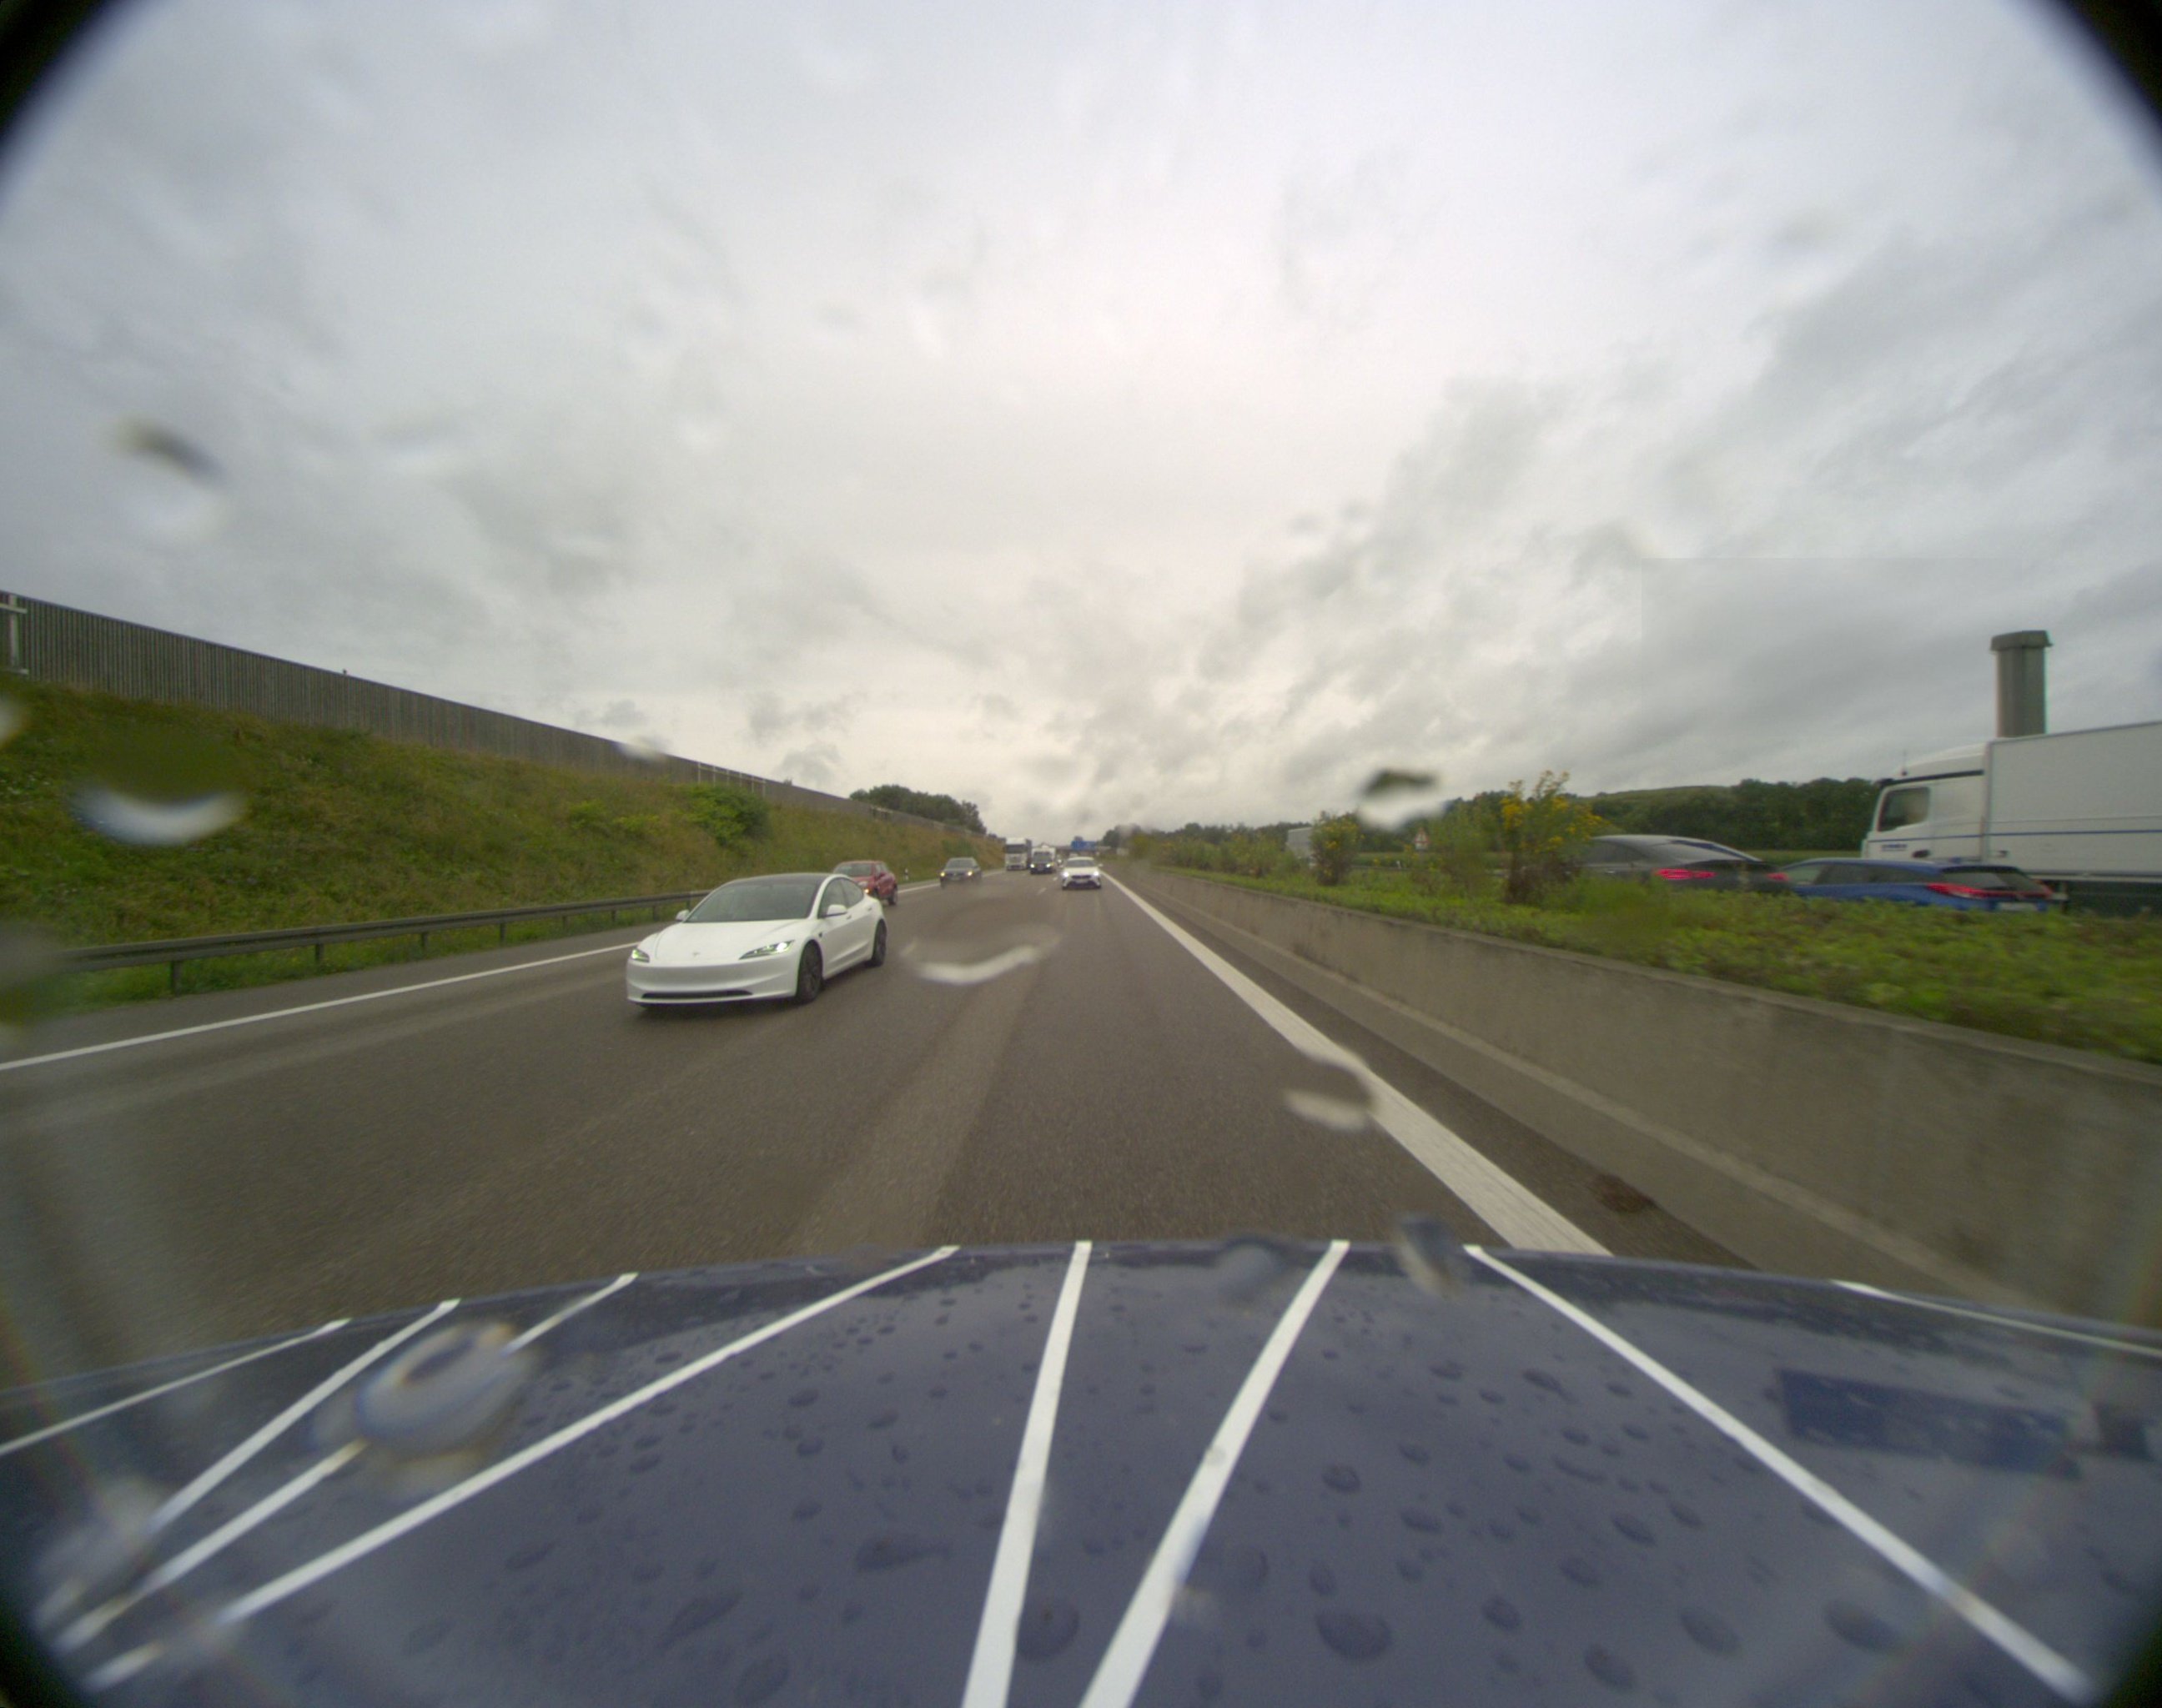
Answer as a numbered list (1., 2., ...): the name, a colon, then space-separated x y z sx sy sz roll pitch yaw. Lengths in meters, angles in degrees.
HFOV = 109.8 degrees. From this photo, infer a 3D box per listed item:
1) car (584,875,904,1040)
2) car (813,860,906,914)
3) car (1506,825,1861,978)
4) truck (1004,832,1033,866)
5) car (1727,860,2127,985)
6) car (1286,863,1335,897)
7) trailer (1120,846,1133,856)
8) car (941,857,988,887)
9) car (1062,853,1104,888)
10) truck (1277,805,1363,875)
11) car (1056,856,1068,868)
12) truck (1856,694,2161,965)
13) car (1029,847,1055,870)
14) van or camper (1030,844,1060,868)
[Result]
1. car: -3.845 1.080 9.817 1.878 1.355 4.812 -2 1 1
2. car: -7.323 1.042 25.504 1.878 1.526 3.999 -2 1 0
3. car: 9.260 0.621 12.400 1.998 2.002 4.835 0 0 1
4. truck: -7.771 -0.636 95.658 3.090 4.003 6.954 -2 1 -2
5. car: 12.795 0.912 11.974 1.872 1.586 4.000 0 0 1
6. car: 13.933 1.543 46.341 1.758 1.894 4.096 -2 0 1
7. trailer: 15.260 -1.032 256.014 2.922 3.409 13.238 -2 1 -1
8. car: -6.561 0.970 43.226 1.929 1.480 4.485 -2 1 0
9. car: 0.096 0.756 36.123 1.841 1.455 3.999 -2 1 0
10. truck: 17.485 -1.016 56.422 3.233 4.622 9.673 -2 1 1
11. car: -3.001 1.230 120.562 1.999 1.759 3.999 0 0 -1
12. truck: 17.246 -0.396 10.068 3.191 3.944 10.810 -2 1 2
13. car: -3.540 0.363 69.933 1.998 2.002 4.937 -2 1 1
14. van or camper: -3.520 0.143 75.339 2.432 2.139 6.498 -2 1 1
